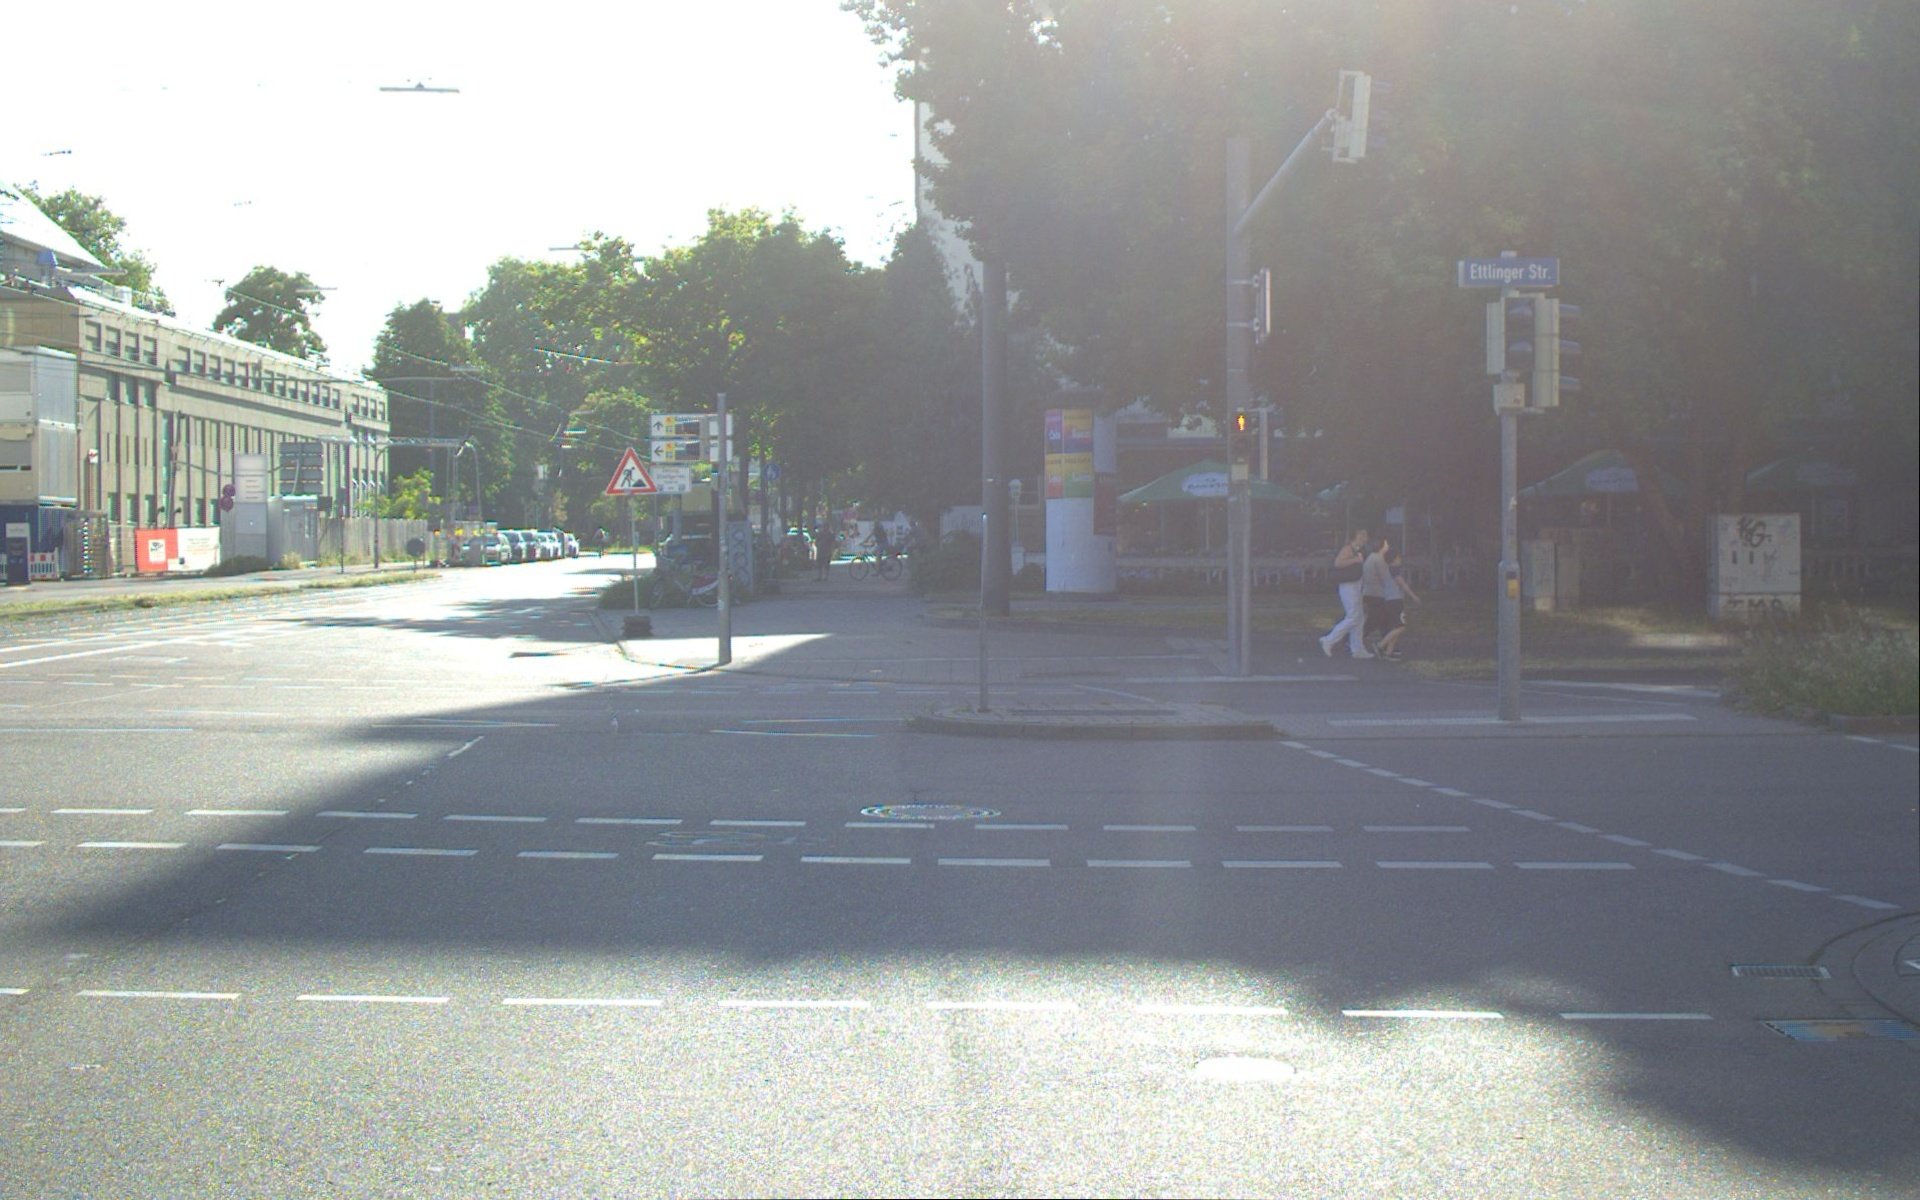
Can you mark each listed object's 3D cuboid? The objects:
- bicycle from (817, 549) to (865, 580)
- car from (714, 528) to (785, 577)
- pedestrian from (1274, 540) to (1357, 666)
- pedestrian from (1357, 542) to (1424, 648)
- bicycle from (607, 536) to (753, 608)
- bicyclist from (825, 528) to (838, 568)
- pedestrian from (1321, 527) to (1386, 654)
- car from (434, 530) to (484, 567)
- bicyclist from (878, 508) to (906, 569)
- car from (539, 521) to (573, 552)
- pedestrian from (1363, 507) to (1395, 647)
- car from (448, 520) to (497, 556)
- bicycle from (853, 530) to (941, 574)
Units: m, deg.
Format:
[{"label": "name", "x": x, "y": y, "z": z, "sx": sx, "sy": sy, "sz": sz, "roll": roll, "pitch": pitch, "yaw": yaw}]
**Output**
[{"label": "bicycle", "x": -3.407, "y": -1.016, "z": 98.722, "sx": 1.479, "sy": 0.865, "sz": 0.325, "roll": -1, "pitch": 1, "yaw": -39}, {"label": "car", "x": -5.637, "y": -1.294, "z": 92.338, "sx": 1.819, "sy": 1.274, "sz": 4.001, "roll": 0, "pitch": 1, "yaw": -3}, {"label": "pedestrian", "x": 4.526, "y": 0.036, "z": 43.805, "sx": 0.984, "sy": 1.582, "sz": 0.660, "roll": 0, "pitch": 0, "yaw": 1}, {"label": "pedestrian", "x": 5.428, "y": -0.067, "z": 43.383, "sx": 0.752, "sy": 1.328, "sz": 0.742, "roll": 0, "pitch": 1, "yaw": 1}, {"label": "bicycle", "x": -5.465, "y": -0.554, "z": 67.148, "sx": 2.748, "sy": 1.363, "sz": 0.630, "roll": 1, "pitch": 0, "yaw": 11}, {"label": "bicyclist", "x": -3.687, "y": -1.486, "z": 98.428, "sx": 0.318, "sy": 1.124, "sz": 0.291, "roll": 0, "pitch": 1, "yaw": 9}, {"label": "pedestrian", "x": 5.089, "y": -0.127, "z": 44.473, "sx": 0.795, "sy": 1.634, "sz": 0.533, "roll": 0, "pitch": 1, "yaw": 2}, {"label": "car", "x": -22.729, "y": -2.365, "z": 156.087, "sx": 1.731, "sy": 1.647, "sz": 4.000, "roll": 0, "pitch": 1, "yaw": -1}, {"label": "bicyclist", "x": -2.037, "y": -1.843, "z": 103.041, "sx": 0.804, "sy": 1.838, "sz": 0.731, "roll": 0, "pitch": 1, "yaw": -1}, {"label": "car", "x": -22.824, "y": -3.588, "z": 194.323, "sx": 1.483, "sy": 1.744, "sz": 4.000, "roll": -1, "pitch": 1, "yaw": -1}, {"label": "pedestrian", "x": 5.416, "y": -0.298, "z": 44.396, "sx": 0.361, "sy": 1.798, "sz": 0.506, "roll": 0, "pitch": 1, "yaw": 11}, {"label": "car", "x": -22.705, "y": -2.888, "z": 160.115, "sx": 1.731, "sy": 1.647, "sz": 4.000, "roll": 0, "pitch": 1, "yaw": -1}, {"label": "bicycle", "x": -1.880, "y": -1.439, "z": 102.918, "sx": 2.568, "sy": 1.284, "sz": 0.728, "roll": 1, "pitch": 0, "yaw": -6}]
